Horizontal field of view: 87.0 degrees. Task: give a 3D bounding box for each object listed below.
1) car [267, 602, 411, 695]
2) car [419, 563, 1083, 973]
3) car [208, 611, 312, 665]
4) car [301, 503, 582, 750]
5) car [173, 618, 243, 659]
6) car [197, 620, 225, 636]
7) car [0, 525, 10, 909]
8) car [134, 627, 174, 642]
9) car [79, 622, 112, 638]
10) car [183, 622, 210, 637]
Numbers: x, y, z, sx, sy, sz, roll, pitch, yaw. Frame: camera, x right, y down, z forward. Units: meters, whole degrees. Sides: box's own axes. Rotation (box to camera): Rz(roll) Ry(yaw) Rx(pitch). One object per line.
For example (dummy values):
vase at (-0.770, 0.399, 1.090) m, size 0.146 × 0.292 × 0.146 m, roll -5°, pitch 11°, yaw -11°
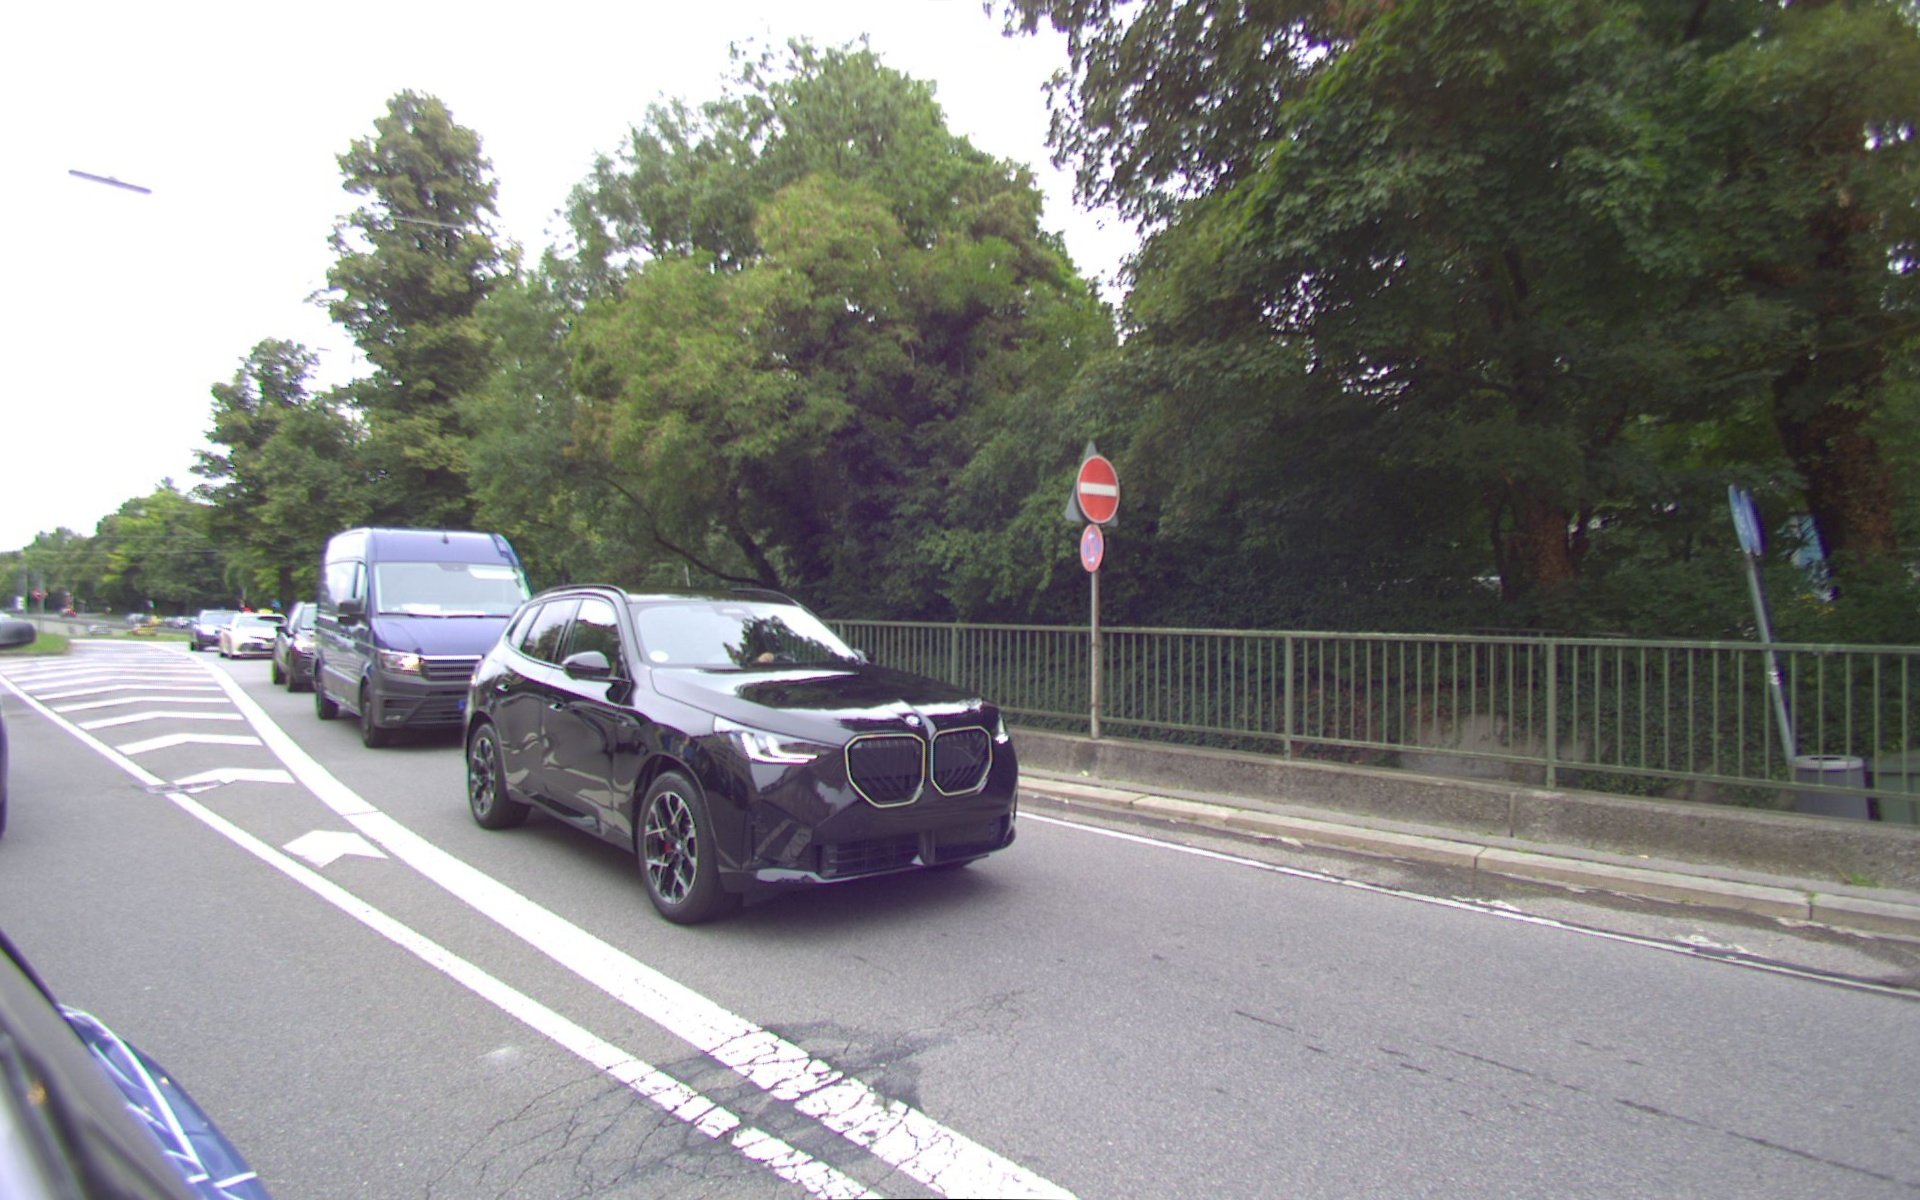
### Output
car at (-12.389, 0.904, 20.058) m, size 1.961 × 1.640 × 4.282 m, roll 1°, pitch -2°, yaw -38°
car at (-1.687, 0.671, 6.381) m, size 1.890 × 1.598 × 4.836 m, roll 1°, pitch -1°, yaw -42°
car at (-22.228, 1.178, 32.044) m, size 1.964 × 1.577 × 4.658 m, roll 2°, pitch -2°, yaw -44°
car at (-6.969, 0.288, 13.159) m, size 2.155 × 2.482 × 5.864 m, roll 1°, pitch -1°, yaw -38°
car at (-30.318, 1.526, 40.758) m, size 1.962 × 1.577 × 4.279 m, roll 2°, pitch -2°, yaw -41°
car at (-86.646, 3.252, 117.049) m, size 3.998 × 1.759 × 1.860 m, roll -1°, pitch -2°, yaw 41°
car at (-7.832, 0.660, 6.759) m, size 4.553 × 2.227 × 1.832 m, roll 0°, pitch -1°, yaw 43°
car at (-78.052, 3.320, 97.970) m, size 4.519 × 1.457 × 1.974 m, roll -1°, pitch -3°, yaw 38°
car at (-95.735, 3.291, 112.055) m, size 4.519 × 1.765 × 1.974 m, roll -1°, pitch -1°, yaw 38°
car at (-91.810, 3.502, 121.709) m, size 3.998 × 1.759 × 1.842 m, roll -1°, pitch -2°, yaw 41°
